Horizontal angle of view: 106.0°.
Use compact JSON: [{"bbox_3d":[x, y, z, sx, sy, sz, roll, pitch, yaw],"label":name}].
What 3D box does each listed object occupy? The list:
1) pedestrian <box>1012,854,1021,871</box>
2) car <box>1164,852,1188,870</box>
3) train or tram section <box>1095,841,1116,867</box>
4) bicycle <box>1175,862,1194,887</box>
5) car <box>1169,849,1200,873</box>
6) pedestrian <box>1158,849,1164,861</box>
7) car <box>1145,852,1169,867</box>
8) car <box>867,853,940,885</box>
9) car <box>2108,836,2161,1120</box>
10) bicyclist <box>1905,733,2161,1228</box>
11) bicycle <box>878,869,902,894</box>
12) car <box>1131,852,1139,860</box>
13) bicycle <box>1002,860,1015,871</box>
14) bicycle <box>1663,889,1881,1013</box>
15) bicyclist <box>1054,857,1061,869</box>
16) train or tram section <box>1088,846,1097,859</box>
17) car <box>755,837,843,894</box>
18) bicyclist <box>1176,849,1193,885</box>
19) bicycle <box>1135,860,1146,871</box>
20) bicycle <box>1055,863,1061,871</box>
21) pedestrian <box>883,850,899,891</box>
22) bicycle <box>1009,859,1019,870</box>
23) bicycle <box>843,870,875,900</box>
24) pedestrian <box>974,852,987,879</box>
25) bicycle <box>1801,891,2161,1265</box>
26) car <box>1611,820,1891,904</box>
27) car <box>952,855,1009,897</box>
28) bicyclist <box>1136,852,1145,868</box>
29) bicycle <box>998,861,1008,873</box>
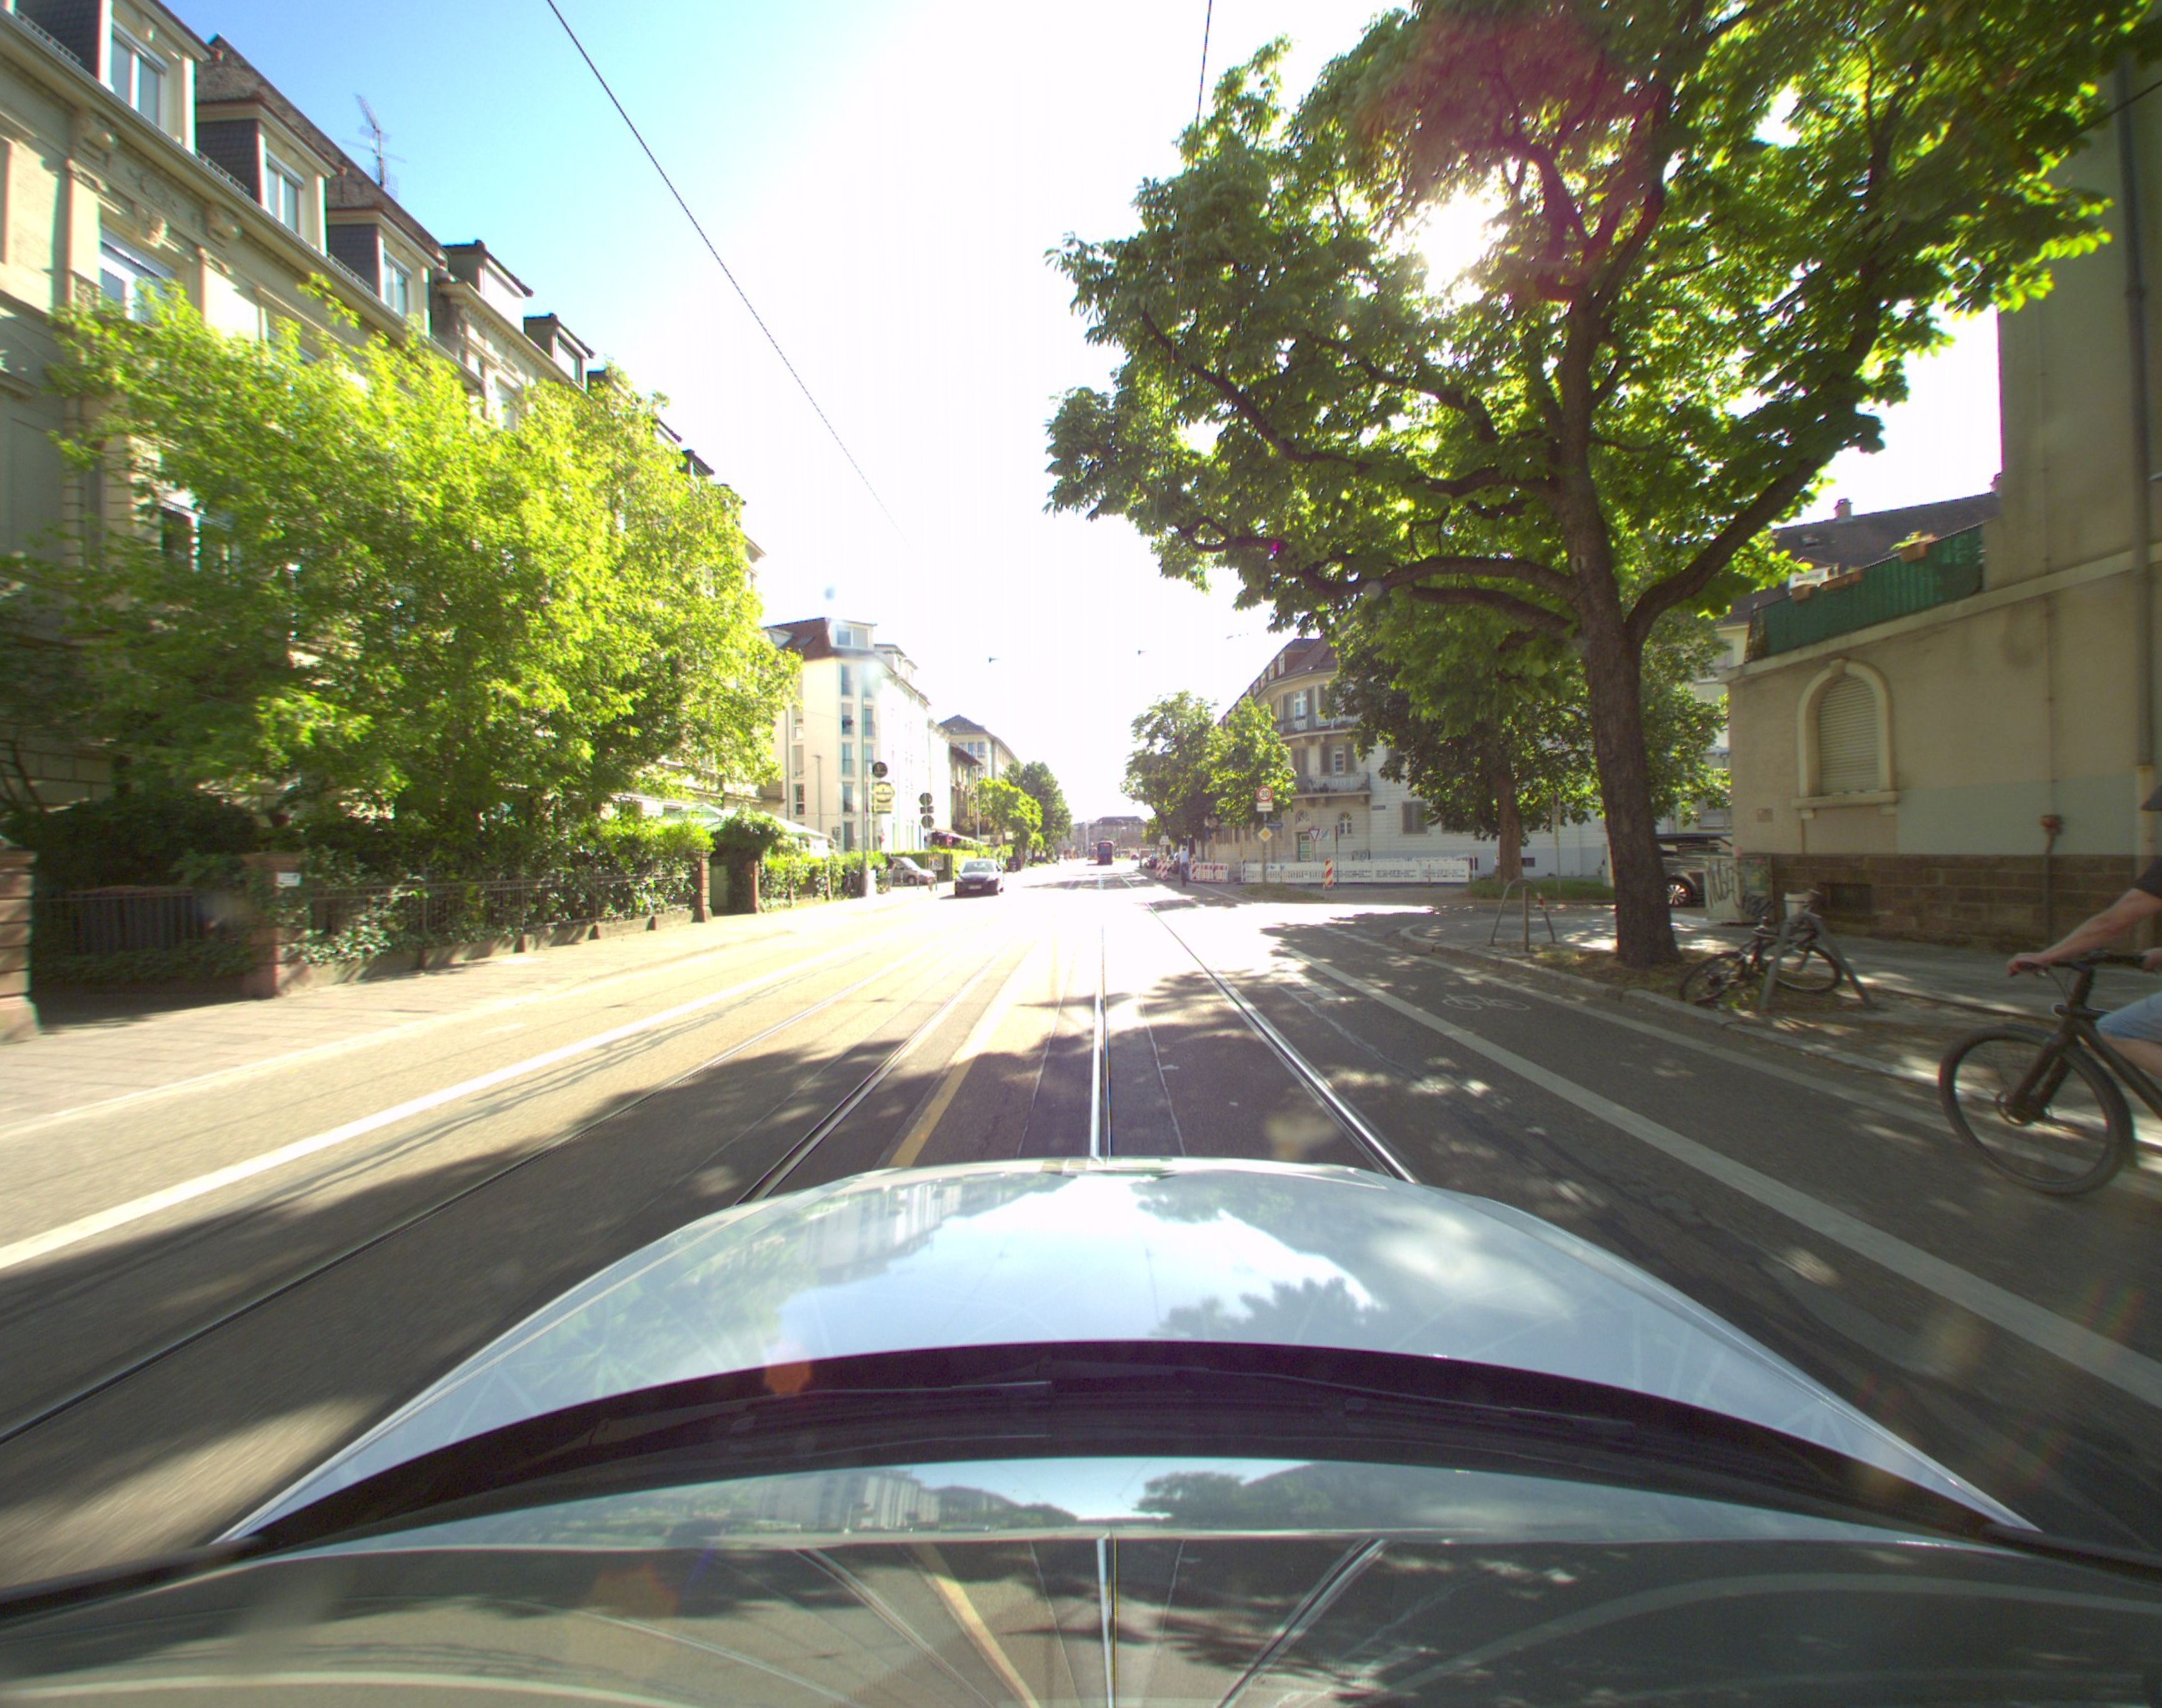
[{"bbox_3d":[-6.770,0.891,85.471,0.570,1.831,0.693,-1,0,20],"label":"pedestrian"},{"bbox_3d":[8.004,0.572,68.957,1.716,1.382,4.359,-3,0,3],"label":"car"},{"bbox_3d":[3.598,-0.105,122.651,2.732,3.651,13.787,-1,0,1],"label":"train or tram section"},{"bbox_3d":[4.778,0.941,37.717,0.735,1.094,2.113,0,0,3],"label":"bicycle"},{"bbox_3d":[7.726,0.477,61.302,1.803,1.626,4.586,-4,0,2],"label":"car"},{"bbox_3d":[11.930,0.138,121.315,0.681,1.849,0.955,-3,0,0],"label":"pedestrian"},{"bbox_3d":[7.944,0.596,85.540,1.817,1.458,4.814,-3,0,-2],"label":"car"},{"bbox_3d":[-10.845,0.921,49.813,4.005,1.807,1.801,-2,-2,22],"label":"car"},{"bbox_3d":[6.374,0.616,2.289,1.695,1.472,4.215,-2,0,2],"label":"car"},{"bbox_3d":[4.188,0.444,3.246,0.758,1.738,1.047,0,0,1],"label":"bicyclist"},{"bbox_3d":[-8.138,1.161,34.789,0.525,0.981,1.778,-1,0,2],"label":"bicycle"},{"bbox_3d":[12.323,0.433,186.200,1.780,1.604,3.719,0,0,6],"label":"car"},{"bbox_3d":[-7.601,1.191,85.716,0.631,1.045,2.031,-1,0,18],"label":"bicycle"},{"bbox_3d":[6.370,0.869,7.539,1.564,0.980,0.639,-2,0,-8],"label":"bicycle"},{"bbox_3d":[-3.389,1.287,118.565,0.742,1.599,1.118,-4,0,2],"label":"bicyclist"},{"bbox_3d":[3.347,-0.559,237.269,2.732,3.651,13.787,-1,0,1],"label":"train or tram section"},{"bbox_3d":[-15.034,0.634,43.763,1.871,2.841,4.805,-2,-1,18],"label":"car"},{"bbox_3d":[4.779,0.595,37.706,0.735,1.686,0.972,0,0,3],"label":"bicyclist"},{"bbox_3d":[6.213,1.214,85.009,0.699,1.104,1.726,0,0,21],"label":"bicycle"},{"bbox_3d":[-3.356,1.923,118.769,0.742,1.082,1.900,-4,0,3],"label":"bicycle"},{"bbox_3d":[-8.469,0.731,36.238,0.555,1.781,0.538,-1,-1,-2],"label":"pedestrian"},{"bbox_3d":[-7.207,1.165,87.350,0.642,1.143,1.910,1,0,10],"label":"bicycle"},{"bbox_3d":[-8.396,1.145,30.903,0.511,1.038,2.224,-1,0,2],"label":"bicycle"},{"bbox_3d":[-6.645,0.771,53.889,0.689,1.768,0.866,-1,0,2],"label":"pedestrian"},{"bbox_3d":[4.189,0.822,3.284,0.758,1.242,2.096,0,0,1],"label":"bicycle"},{"bbox_3d":[16.260,0.247,20.193,5.003,1.890,2.012,-1,-2,27],"label":"car"},{"bbox_3d":[-4.177,0.870,34.369,1.860,1.576,4.585,-3,0,-2],"label":"car"},{"bbox_3d":[6.214,0.600,85.008,0.699,1.675,1.107,0,0,21],"label":"bicyclist"},{"bbox_3d":[-7.190,1.187,74.918,0.636,1.059,1.744,1,0,3],"label":"bicycle"}]
